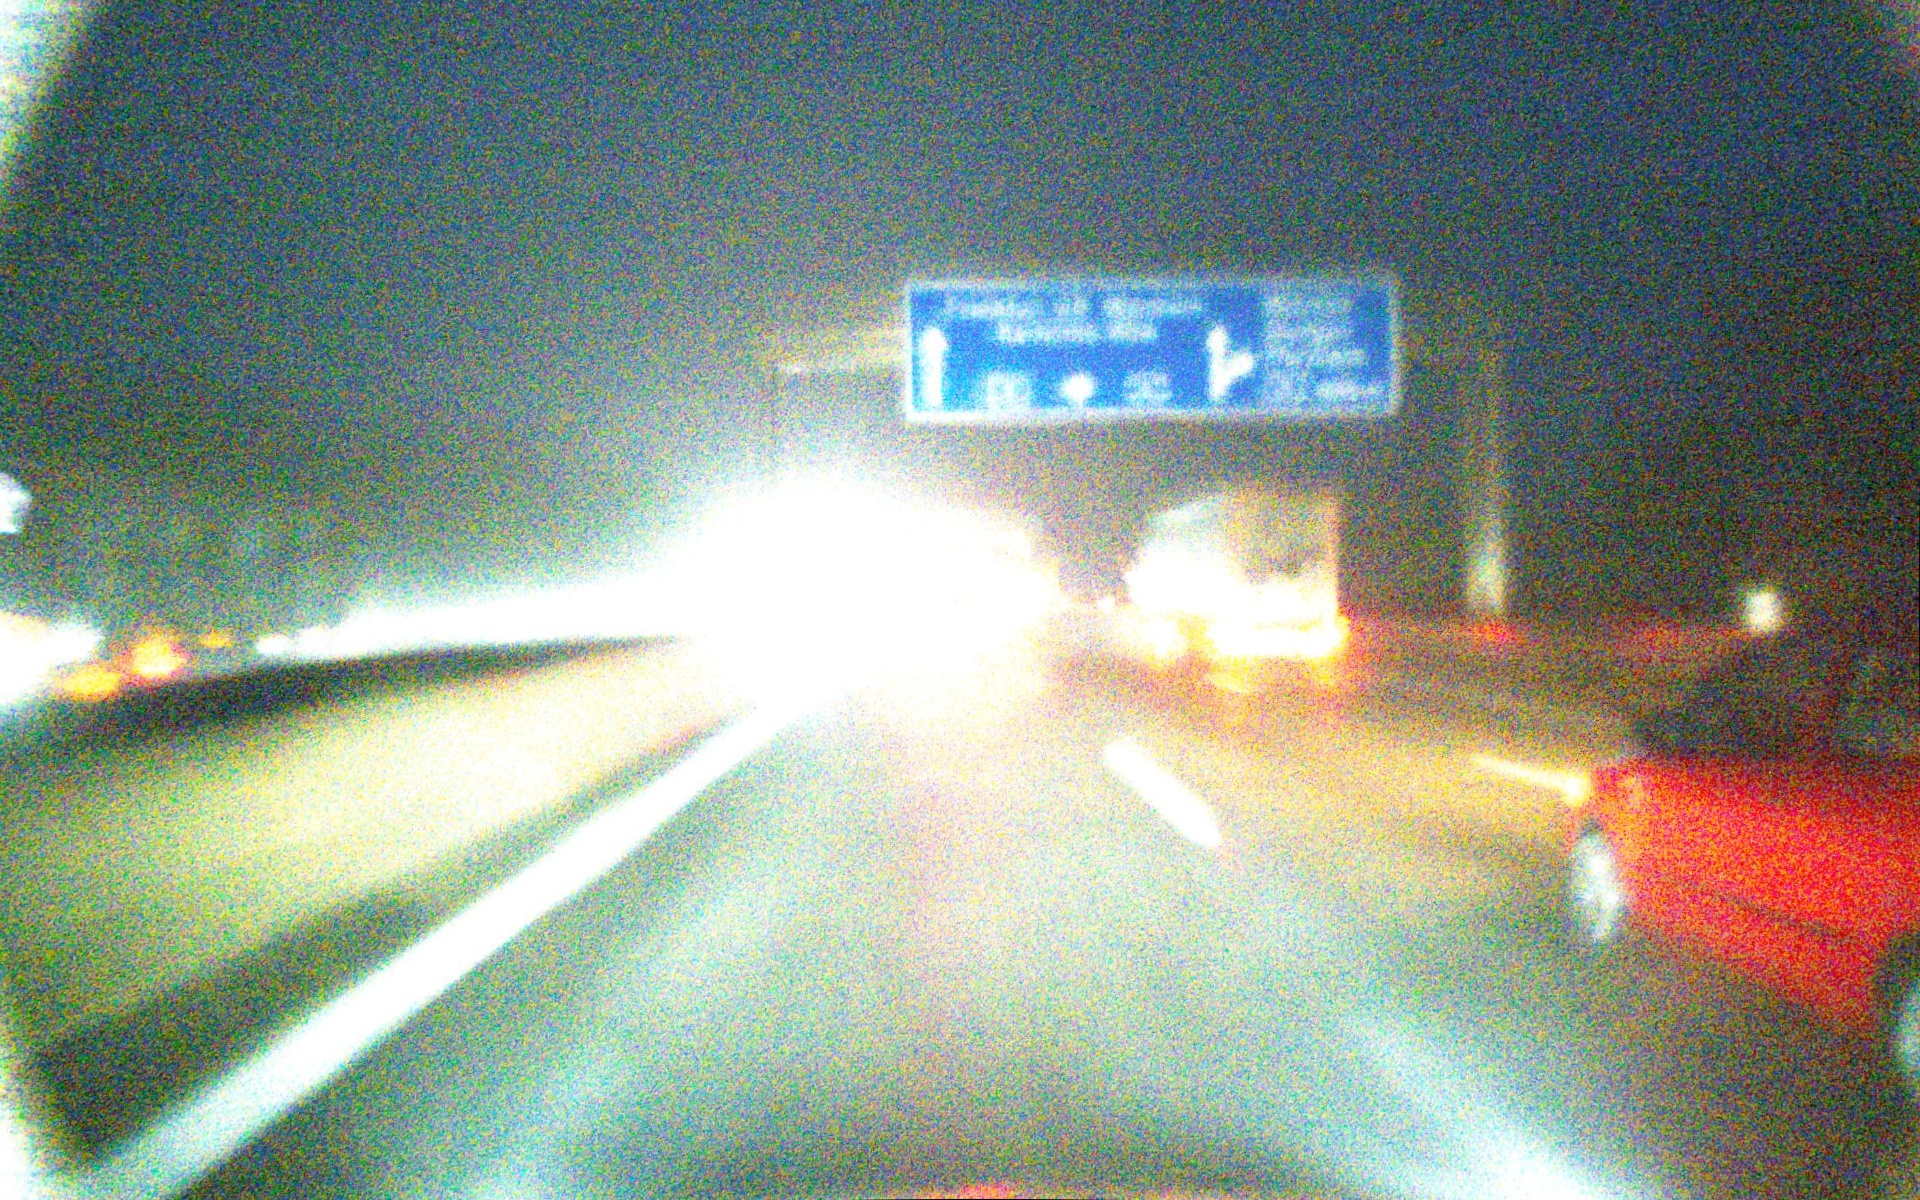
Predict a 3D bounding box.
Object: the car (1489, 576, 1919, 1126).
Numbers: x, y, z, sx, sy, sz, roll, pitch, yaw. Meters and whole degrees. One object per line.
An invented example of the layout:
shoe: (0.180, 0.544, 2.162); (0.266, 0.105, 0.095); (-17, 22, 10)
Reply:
car: (3.625, 0.747, 6.311); (1.705, 1.603, 4.492); (0, -1, -1)

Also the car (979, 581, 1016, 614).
car: (2.403, -0.137, 107.596); (1.954, 2.049, 3.996); (-2, -1, -4)

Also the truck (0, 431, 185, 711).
truck: (-16.377, -0.530, 28.306); (2.913, 4.342, 6.503); (4, 0, -1)

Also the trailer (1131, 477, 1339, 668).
trailer: (6.869, -0.599, 44.098); (2.844, 4.180, 14.484); (-1, 0, -1)

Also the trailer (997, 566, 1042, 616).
trailer: (5.325, -0.686, 150.213); (2.980, 4.180, 13.821); (-2, -1, -2)

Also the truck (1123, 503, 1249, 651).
truck: (6.764, -0.652, 50.404); (2.844, 4.180, 6.029); (-1, 0, -1)

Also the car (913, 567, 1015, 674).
car: (0.084, 0.437, 34.613); (1.953, 2.049, 3.999); (2, -1, 0)

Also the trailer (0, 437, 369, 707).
trailer: (-16.482, -0.519, 34.401); (2.913, 4.342, 14.859); (4, 0, -1)
